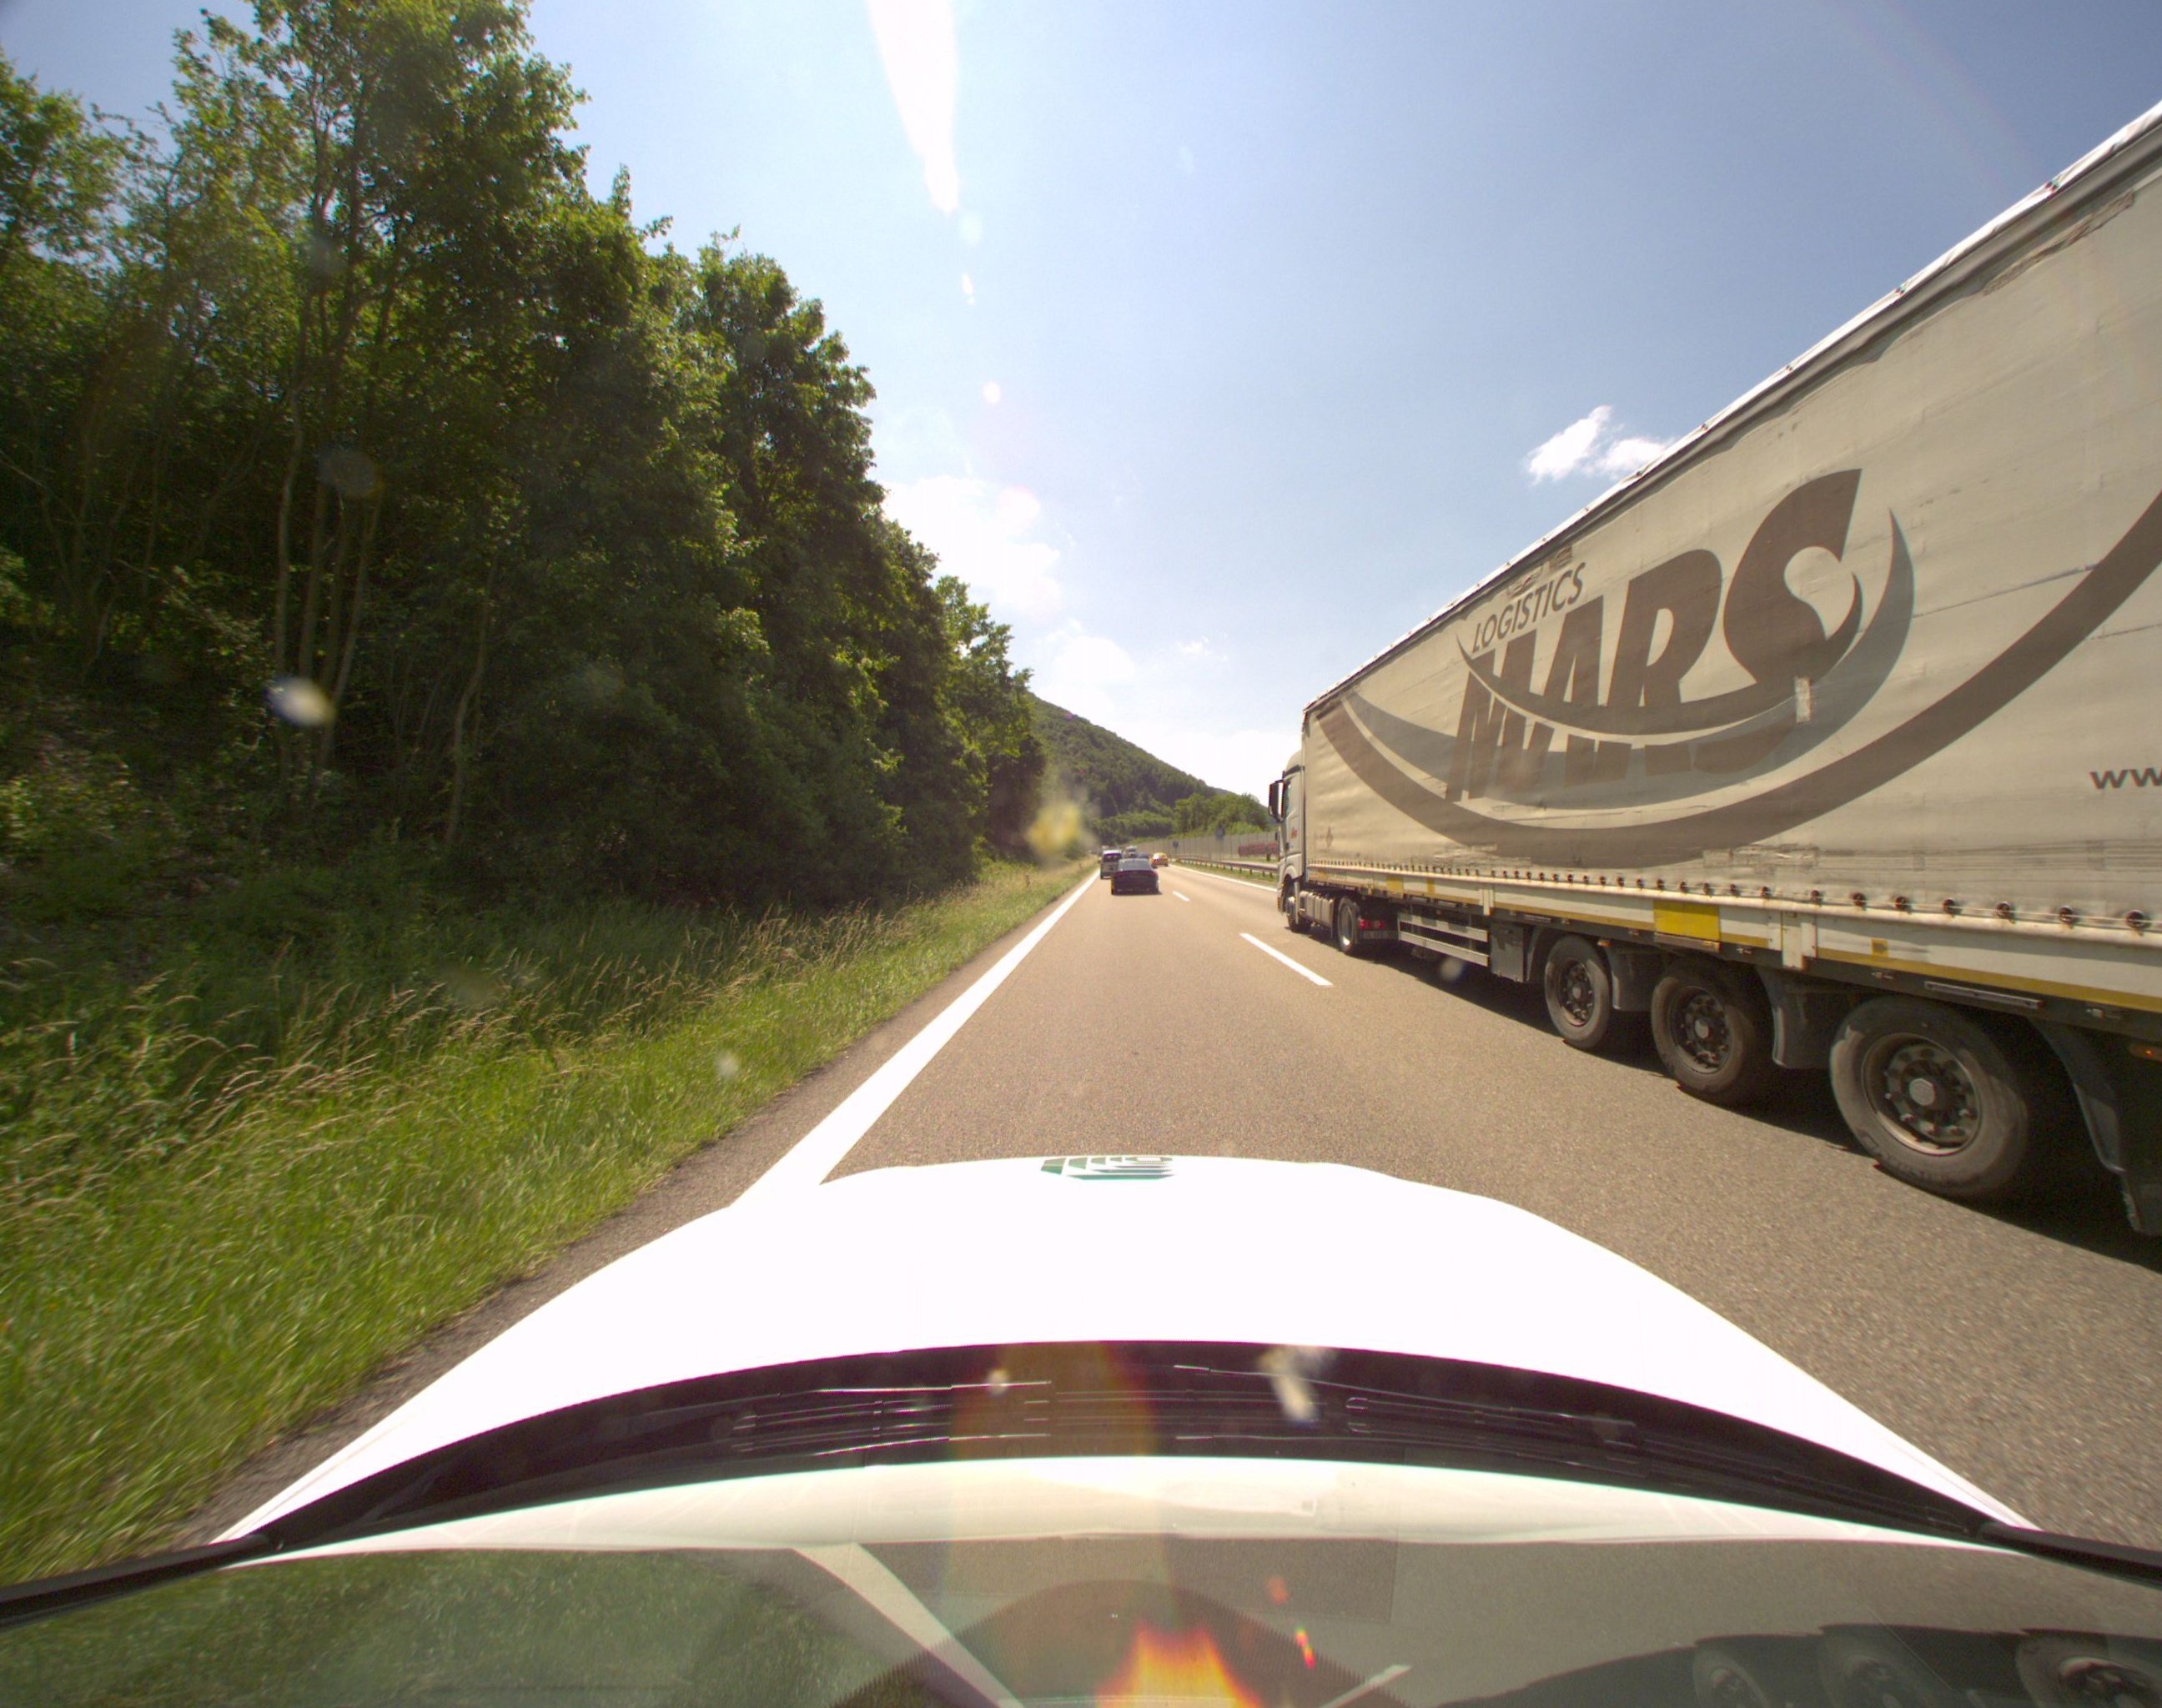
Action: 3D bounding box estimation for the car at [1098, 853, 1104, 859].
[{"bbox_3d":[5.399,0.514,214.646,1.483,1.496,3.592,1,-1,2],"label":"car"}]

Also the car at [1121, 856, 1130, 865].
[{"bbox_3d":[7.959,1.214,145.884,1.524,1.525,3.599,1,-1,2],"label":"car"}]

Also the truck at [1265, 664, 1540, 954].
[{"bbox_3d":[5.185,-0.605,14.377,2.709,4.068,5.755,0,-1,1],"label":"truck"}]

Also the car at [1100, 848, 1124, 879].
[{"bbox_3d":[2.095,0.606,54.725,1.515,1.968,3.516,2,-1,2],"label":"car"}]

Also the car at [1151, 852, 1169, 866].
[{"bbox_3d":[8.769,0.522,90.585,1.871,1.499,4.002,0,0,2],"label":"car"}]

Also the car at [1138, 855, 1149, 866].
[{"bbox_3d":[9.283,1.007,121.190,1.524,1.525,3.599,1,-1,2],"label":"car"}]

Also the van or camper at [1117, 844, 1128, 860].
[{"bbox_3d":[11.190,-0.501,220.074,2.785,3.907,6.166,1,-1,0],"label":"van or camper"}]

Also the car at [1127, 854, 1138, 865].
[{"bbox_3d":[10.079,1.027,159.499,2.078,2.014,4.002,1,-1,2],"label":"car"}]

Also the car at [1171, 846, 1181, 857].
[{"bbox_3d":[17.170,-0.473,147.234,1.570,2.013,3.430,-1,0,2],"label":"car"}]

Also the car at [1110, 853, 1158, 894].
[{"bbox_3d":[2.094,0.759,32.932,1.805,1.514,3.517,-1,0,2],"label":"car"}]

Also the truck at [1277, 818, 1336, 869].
[{"bbox_3d":[18.087,-0.807,65.623,3.399,3.900,5.390,0,0,2],"label":"truck"}]

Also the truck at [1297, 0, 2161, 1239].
[{"bbox_3d":[5.011,-0.704,7.543,2.716,4.068,13.744,0,-1,1],"label":"truck"}]

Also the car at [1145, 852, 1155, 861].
[{"bbox_3d":[15.713,0.489,185.482,1.986,2.013,4.001,0,0,1],"label":"car"}]

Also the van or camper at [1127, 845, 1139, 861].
[{"bbox_3d":[11.028,-0.215,174.080,2.420,3.155,5.206,1,-1,2],"label":"van or camper"}]

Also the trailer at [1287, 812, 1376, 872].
[{"bbox_3d":[17.909,-0.783,59.276,3.398,3.900,11.156,0,0,2],"label":"trailer"}]

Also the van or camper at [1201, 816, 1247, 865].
[{"bbox_3d":[11.809,-1.035,67.733,2.785,3.841,6.166,1,-1,0],"label":"van or camper"}]
